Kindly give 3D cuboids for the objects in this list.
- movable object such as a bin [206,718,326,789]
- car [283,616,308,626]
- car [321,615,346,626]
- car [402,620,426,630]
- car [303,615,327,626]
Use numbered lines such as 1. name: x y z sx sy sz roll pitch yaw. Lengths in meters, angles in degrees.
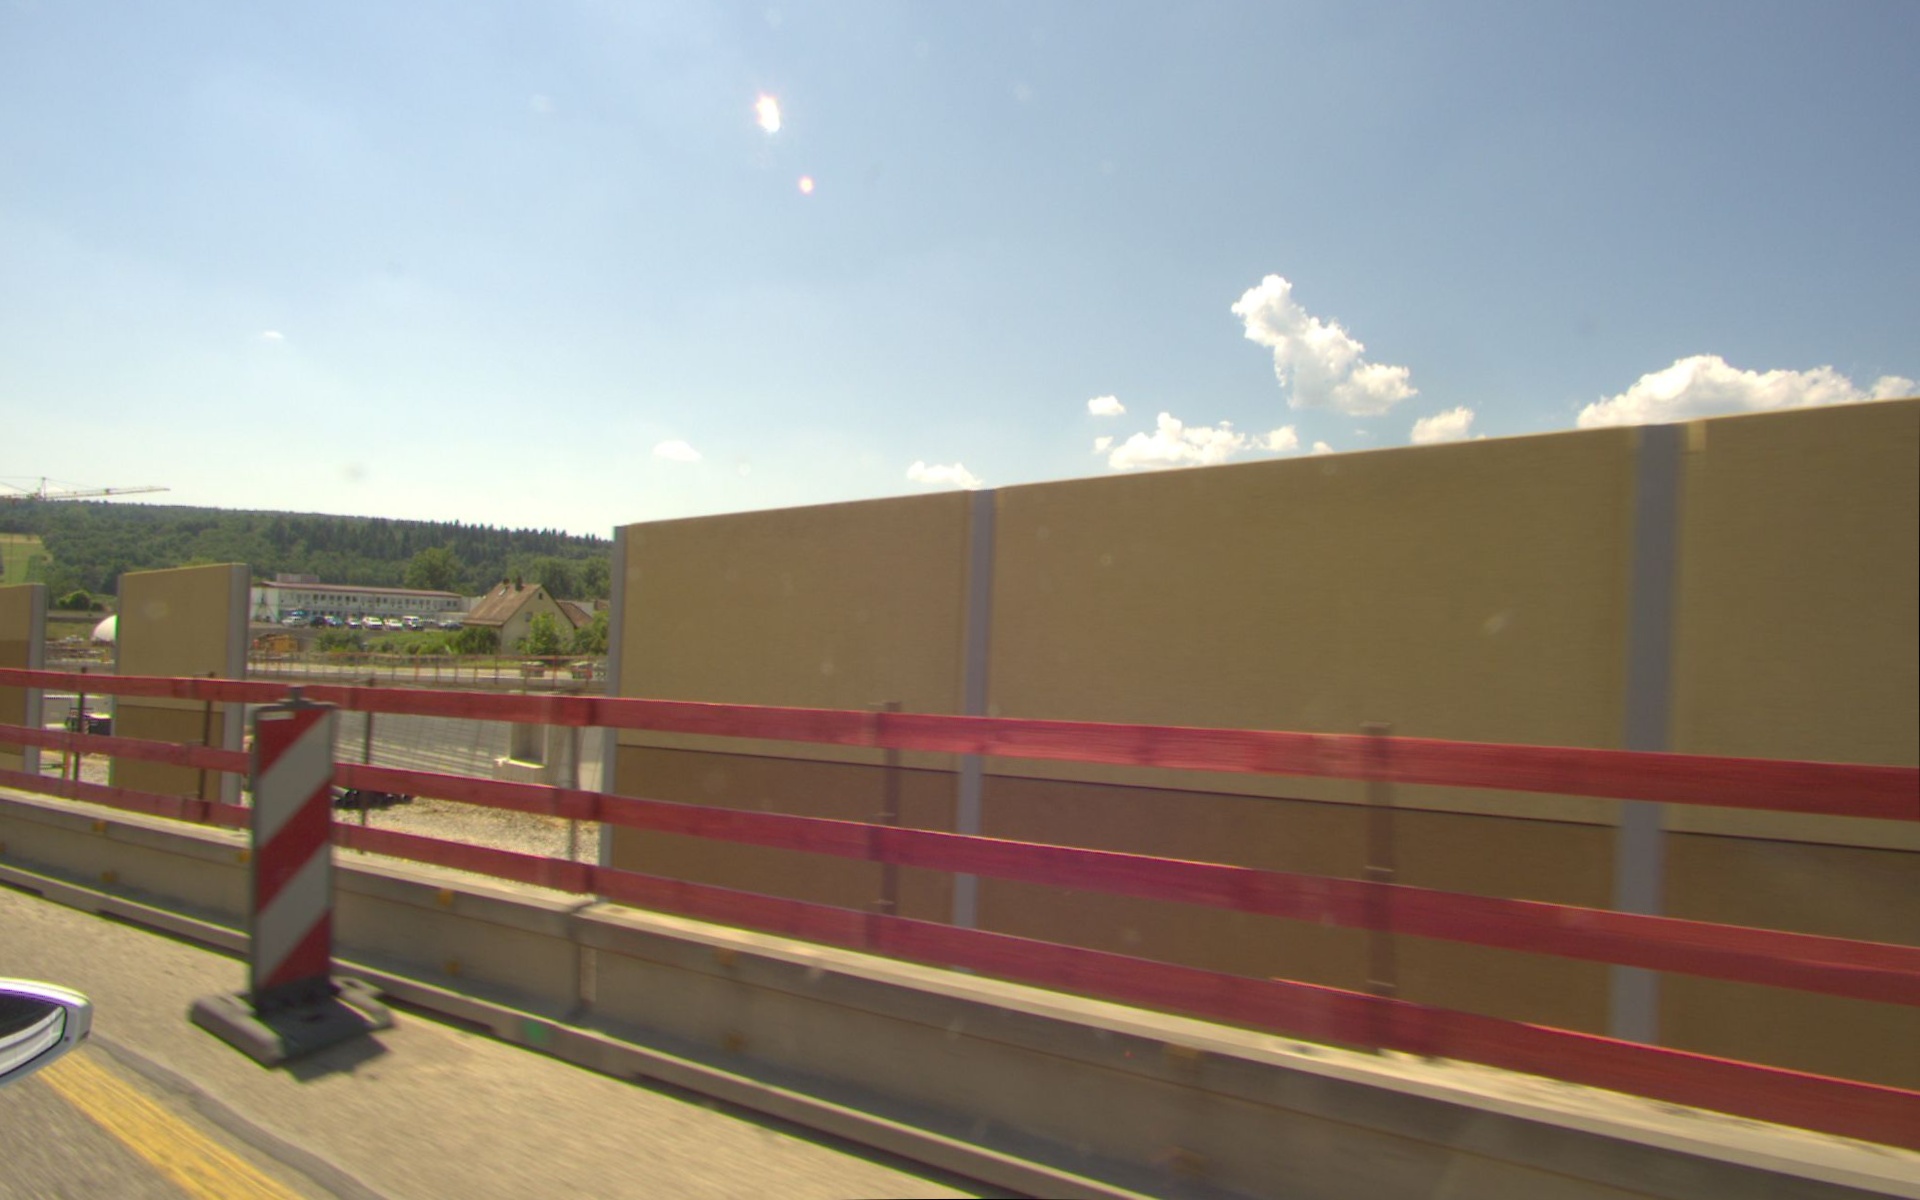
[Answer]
1. movable object such as a bin: -29.357 6.414 42.359 4.390 2.520 2.605 -1 -3 32
2. car: -97.950 3.107 147.492 4.020 1.537 1.677 -1 -2 35
3. car: -94.852 3.113 151.596 4.020 1.537 1.677 -1 -2 35
4. car: -86.602 3.950 158.713 4.020 1.537 1.677 -1 -2 35
5. car: -96.300 3.045 149.495 4.020 1.537 1.677 -1 -2 35
